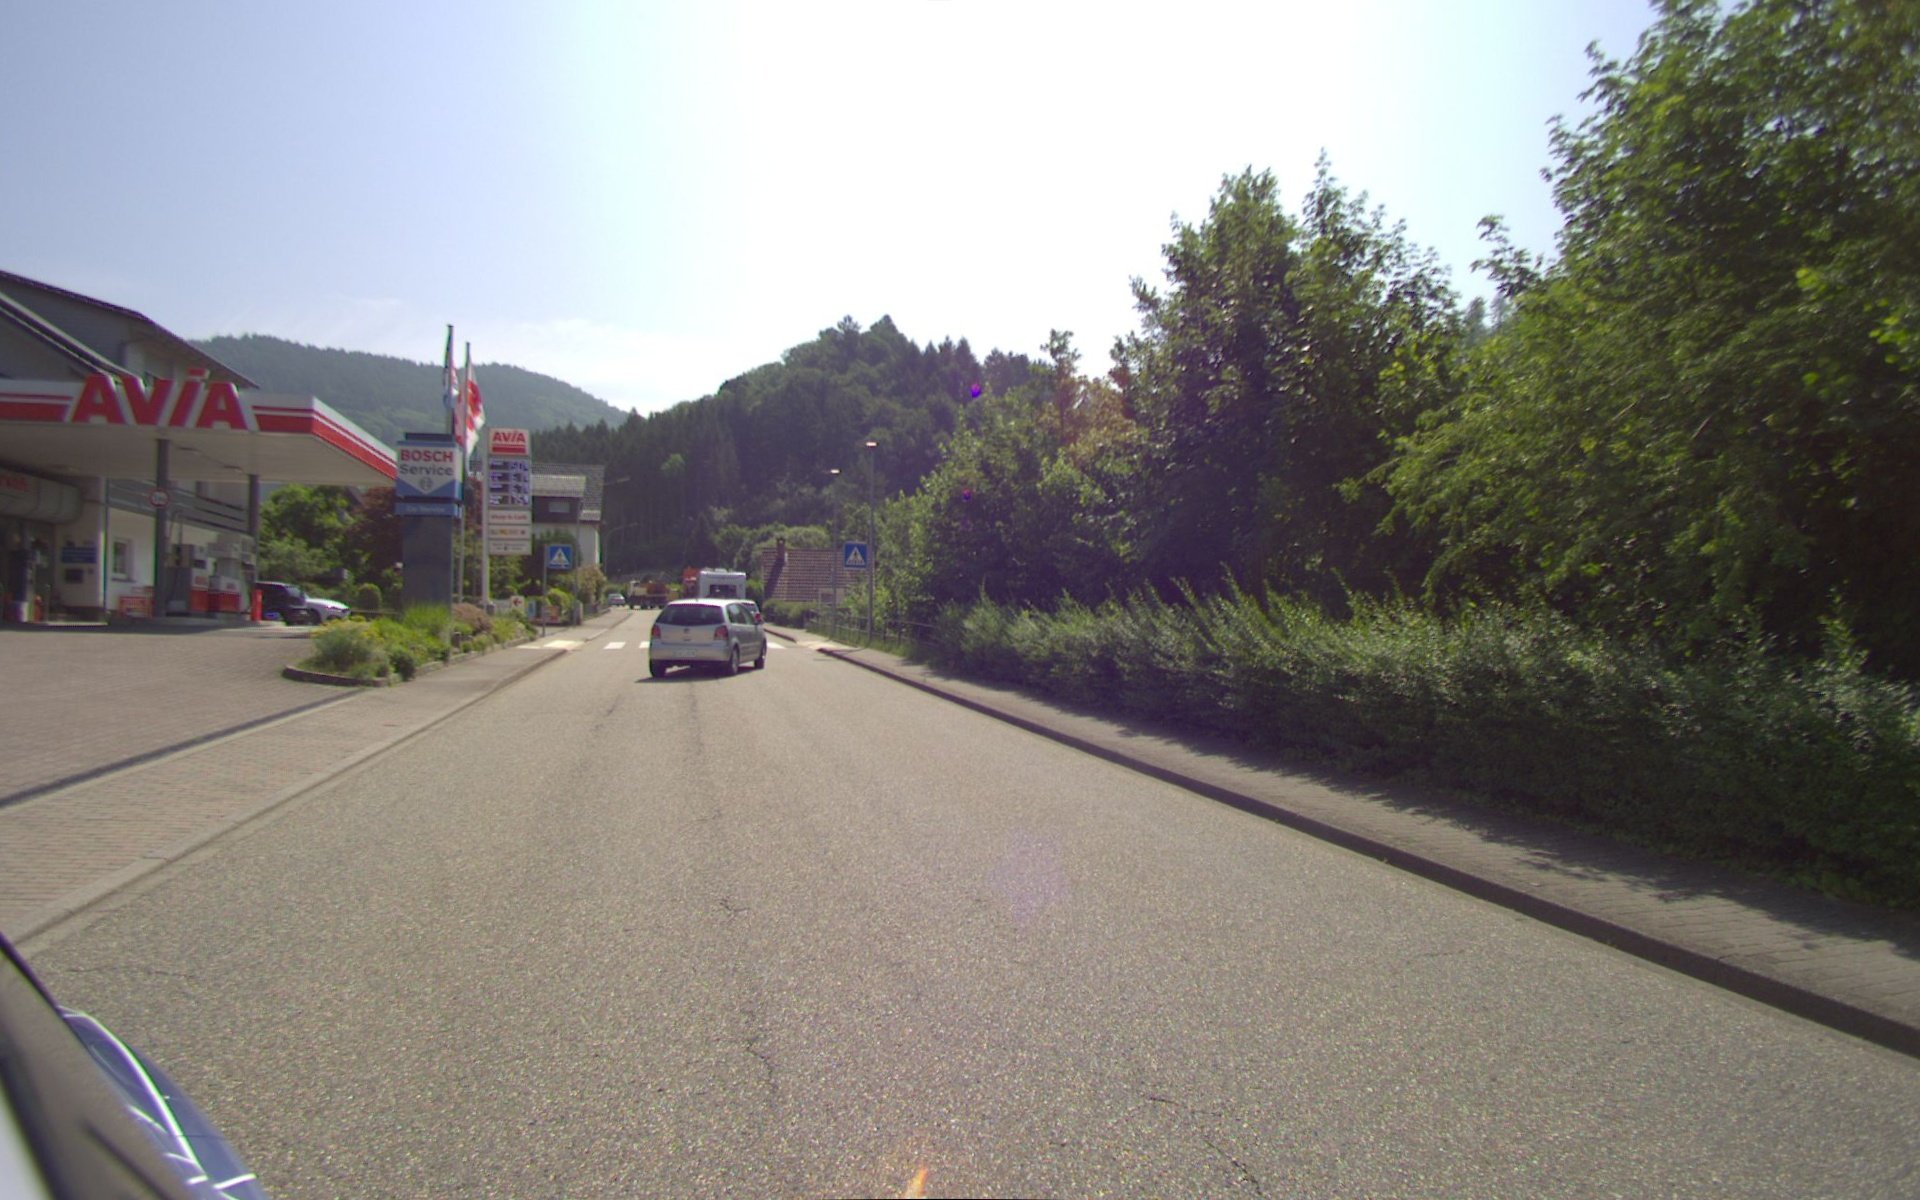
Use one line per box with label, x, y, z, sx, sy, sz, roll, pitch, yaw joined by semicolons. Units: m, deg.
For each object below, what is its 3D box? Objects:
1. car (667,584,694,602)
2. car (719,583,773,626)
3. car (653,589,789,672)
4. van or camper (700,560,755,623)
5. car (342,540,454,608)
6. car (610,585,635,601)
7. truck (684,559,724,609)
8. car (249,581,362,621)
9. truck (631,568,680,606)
car;-30.272;-0.762;109.610;1.752;1.678;3.587;5;-1;-33
car;-7.983;0.155;37.566;1.582;1.416;3.839;3;-1;-16
car;-4.695;0.545;20.399;1.575;1.493;3.751;0;1;5
van or camper;-12.281;-0.360;53.055;2.326;2.975;8.074;2;-1;-16
car;-15.337;-0.669;27.844;1.669;1.589;3.922;5;-1;-15
car;-38.604;-0.805;115.776;1.758;1.585;3.609;5;-1;-33
truck;-20.305;-1.206;79.988;2.607;3.609;8.218;3;-1;-17
car;-23.103;0.044;35.814;3.030;1.153;1.339;5;-1;-17
truck;-30.957;-1.360;102.768;2.608;3.609;7.796;3;-1;-33
